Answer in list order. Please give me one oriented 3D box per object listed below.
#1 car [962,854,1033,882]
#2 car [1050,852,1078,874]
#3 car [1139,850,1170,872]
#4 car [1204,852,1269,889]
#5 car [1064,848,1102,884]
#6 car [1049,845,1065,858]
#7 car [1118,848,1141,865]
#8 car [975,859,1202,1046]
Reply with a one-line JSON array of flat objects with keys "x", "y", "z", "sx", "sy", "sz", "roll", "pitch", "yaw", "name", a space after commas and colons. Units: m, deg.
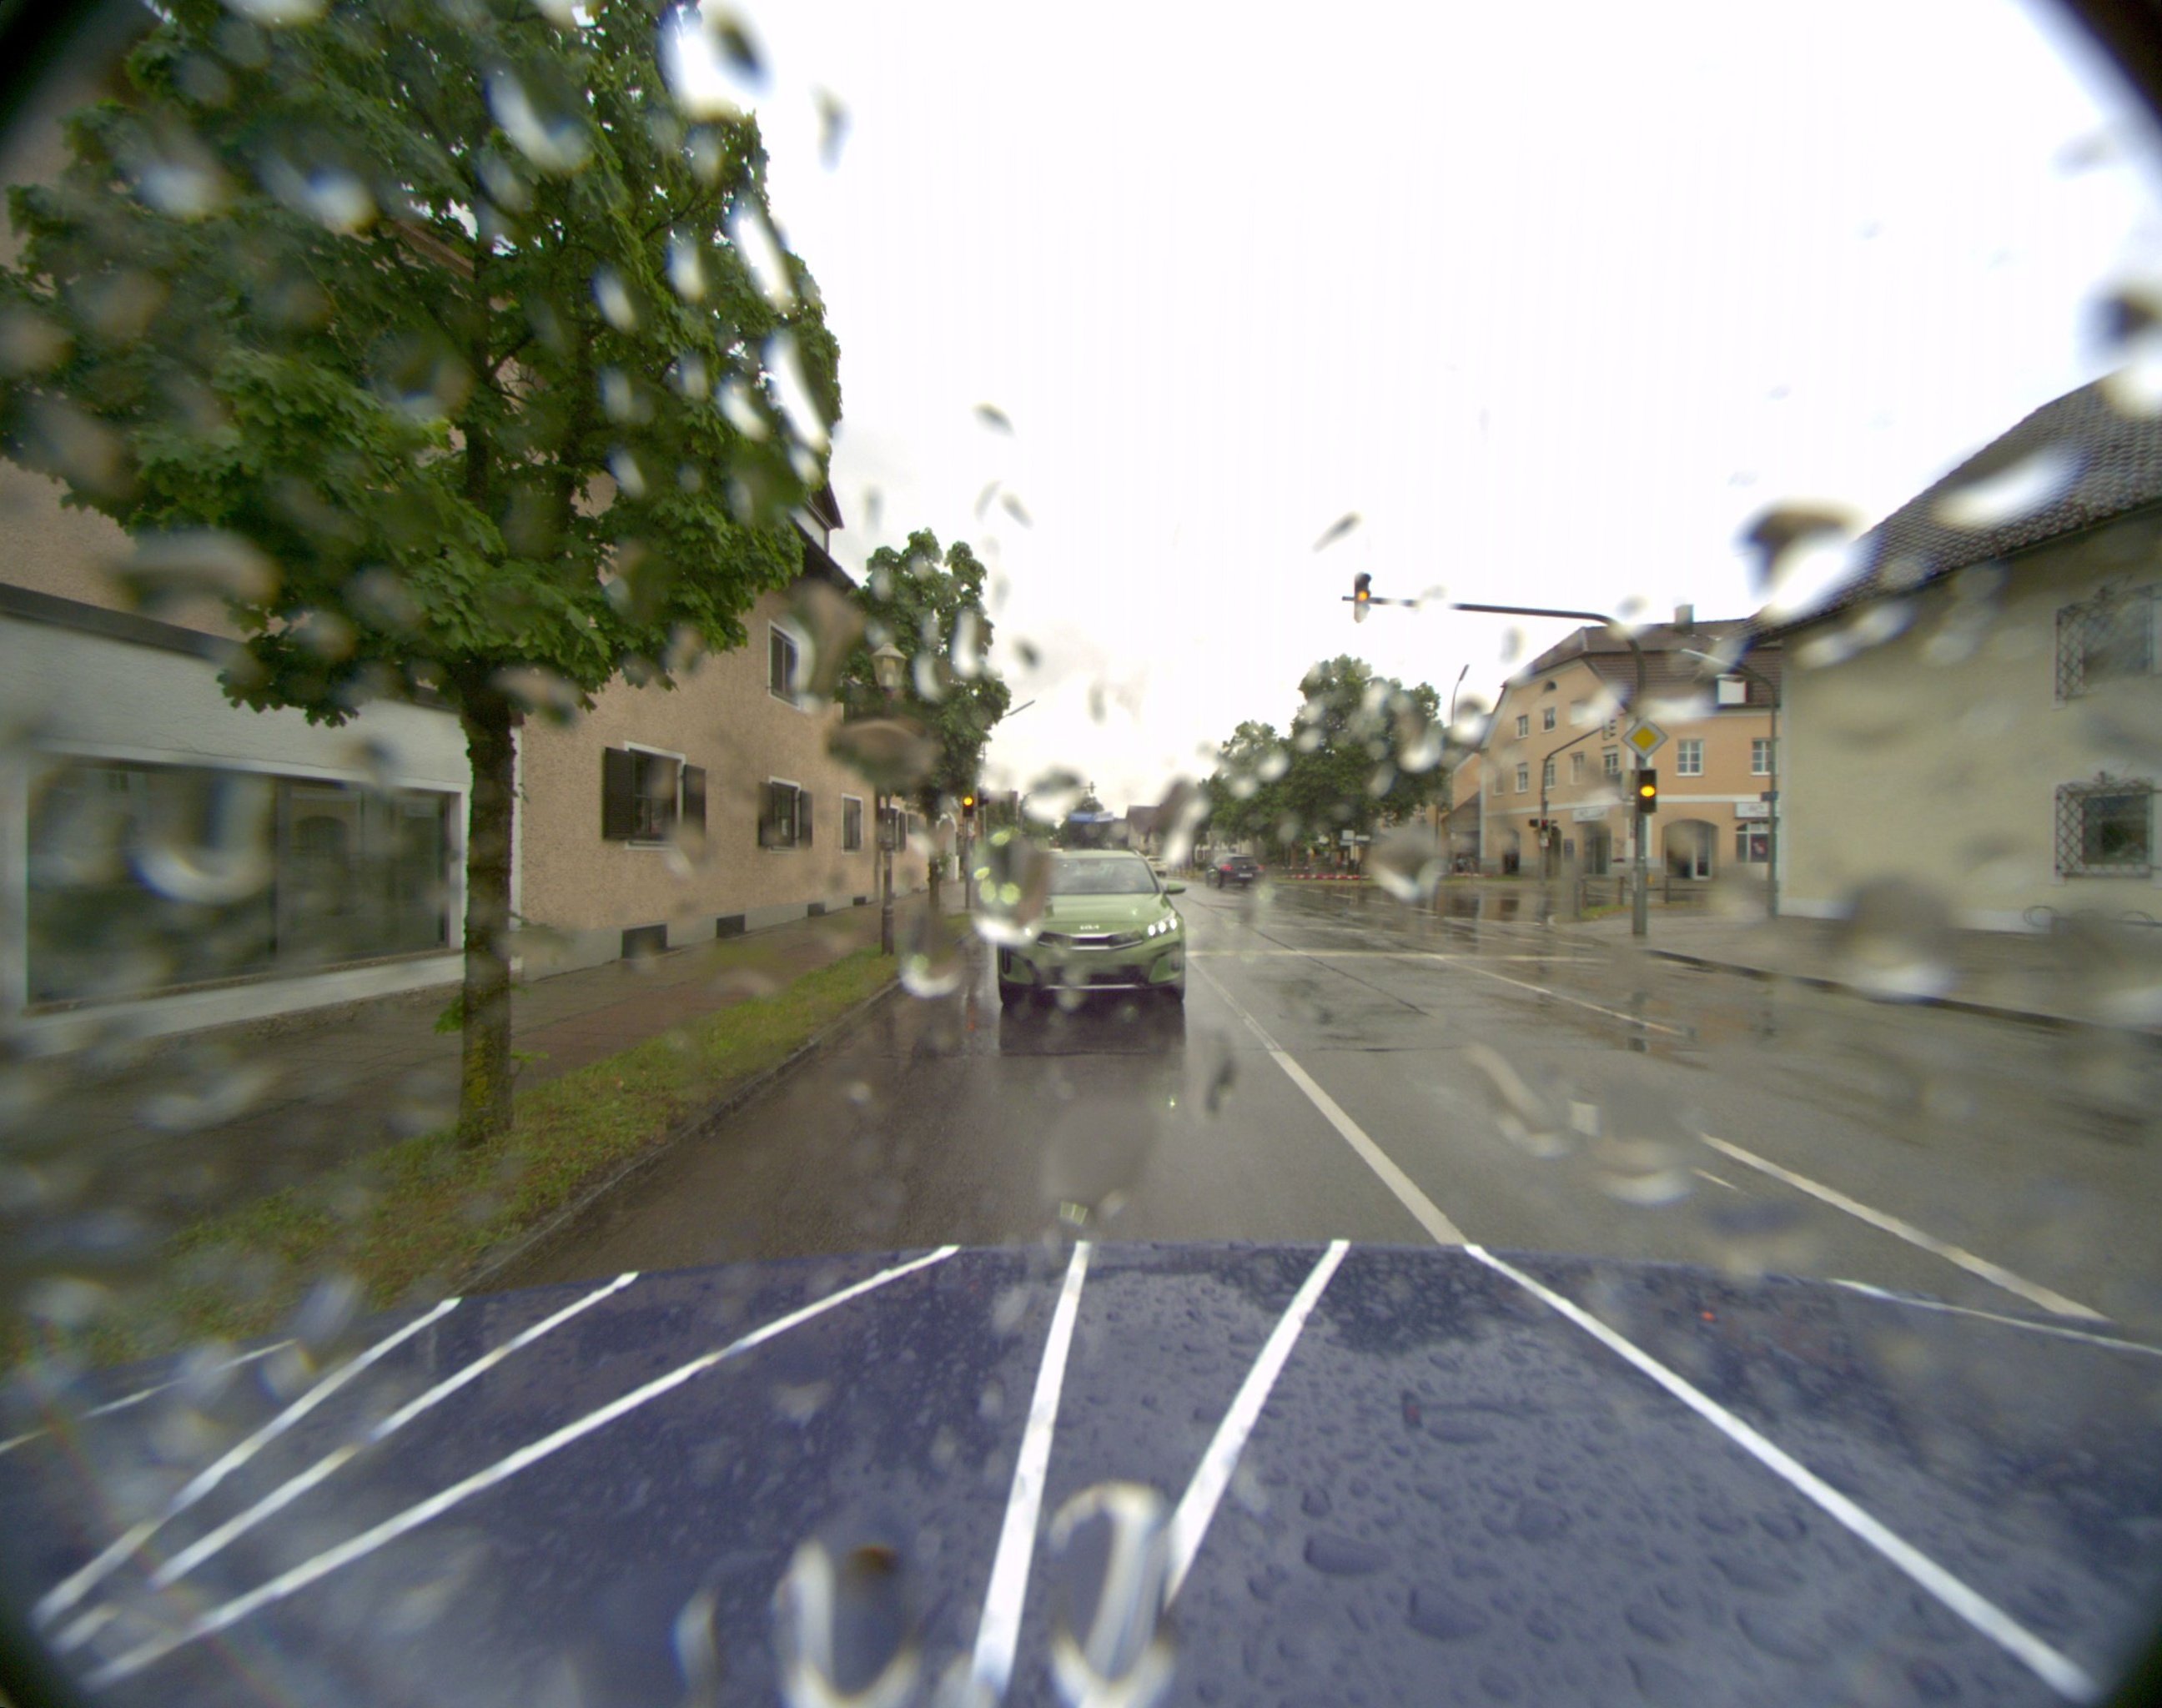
[{"x": -5.145, "y": 0.855, "z": 46.854, "sx": 4.039, "sy": 1.656, "sz": 1.854, "roll": 1, "pitch": 1, "yaw": -18, "name": "car"}, {"x": -1.242, "y": 0.632, "z": 56.538, "sx": 1.839, "sy": 1.509, "sz": 4.669, "roll": 1, "pitch": 1, "yaw": 1, "name": "car"}, {"x": 5.452, "y": 0.486, "z": 56.973, "sx": 1.757, "sy": 1.502, "sz": 4.229, "roll": 1, "pitch": 1, "yaw": -1, "name": "car"}, {"x": 6.305, "y": 0.629, "z": 31.282, "sx": 2.001, "sy": 1.399, "sz": 3.884, "roll": 1, "pitch": 1, "yaw": 2, "name": "car"}, {"x": 0.117, "y": 0.517, "z": 35.007, "sx": 1.637, "sy": 1.509, "sz": 4.000, "roll": 1, "pitch": 1, "yaw": 1, "name": "car"}, {"x": -3.604, "y": -0.384, "z": 113.236, "sx": 2.218, "sy": 1.977, "sz": 4.952, "roll": 1, "pitch": 1, "yaw": -5, "name": "car"}, {"x": 4.654, "y": 0.250, "z": 73.217, "sx": 1.931, "sy": 1.557, "sz": 4.125, "roll": 0, "pitch": 1, "yaw": -1, "name": "car"}, {"x": 0.107, "y": 0.839, "z": 8.406, "sx": 1.872, "sy": 1.504, "sz": 4.105, "roll": -1, "pitch": 0, "yaw": 1, "name": "car"}]
